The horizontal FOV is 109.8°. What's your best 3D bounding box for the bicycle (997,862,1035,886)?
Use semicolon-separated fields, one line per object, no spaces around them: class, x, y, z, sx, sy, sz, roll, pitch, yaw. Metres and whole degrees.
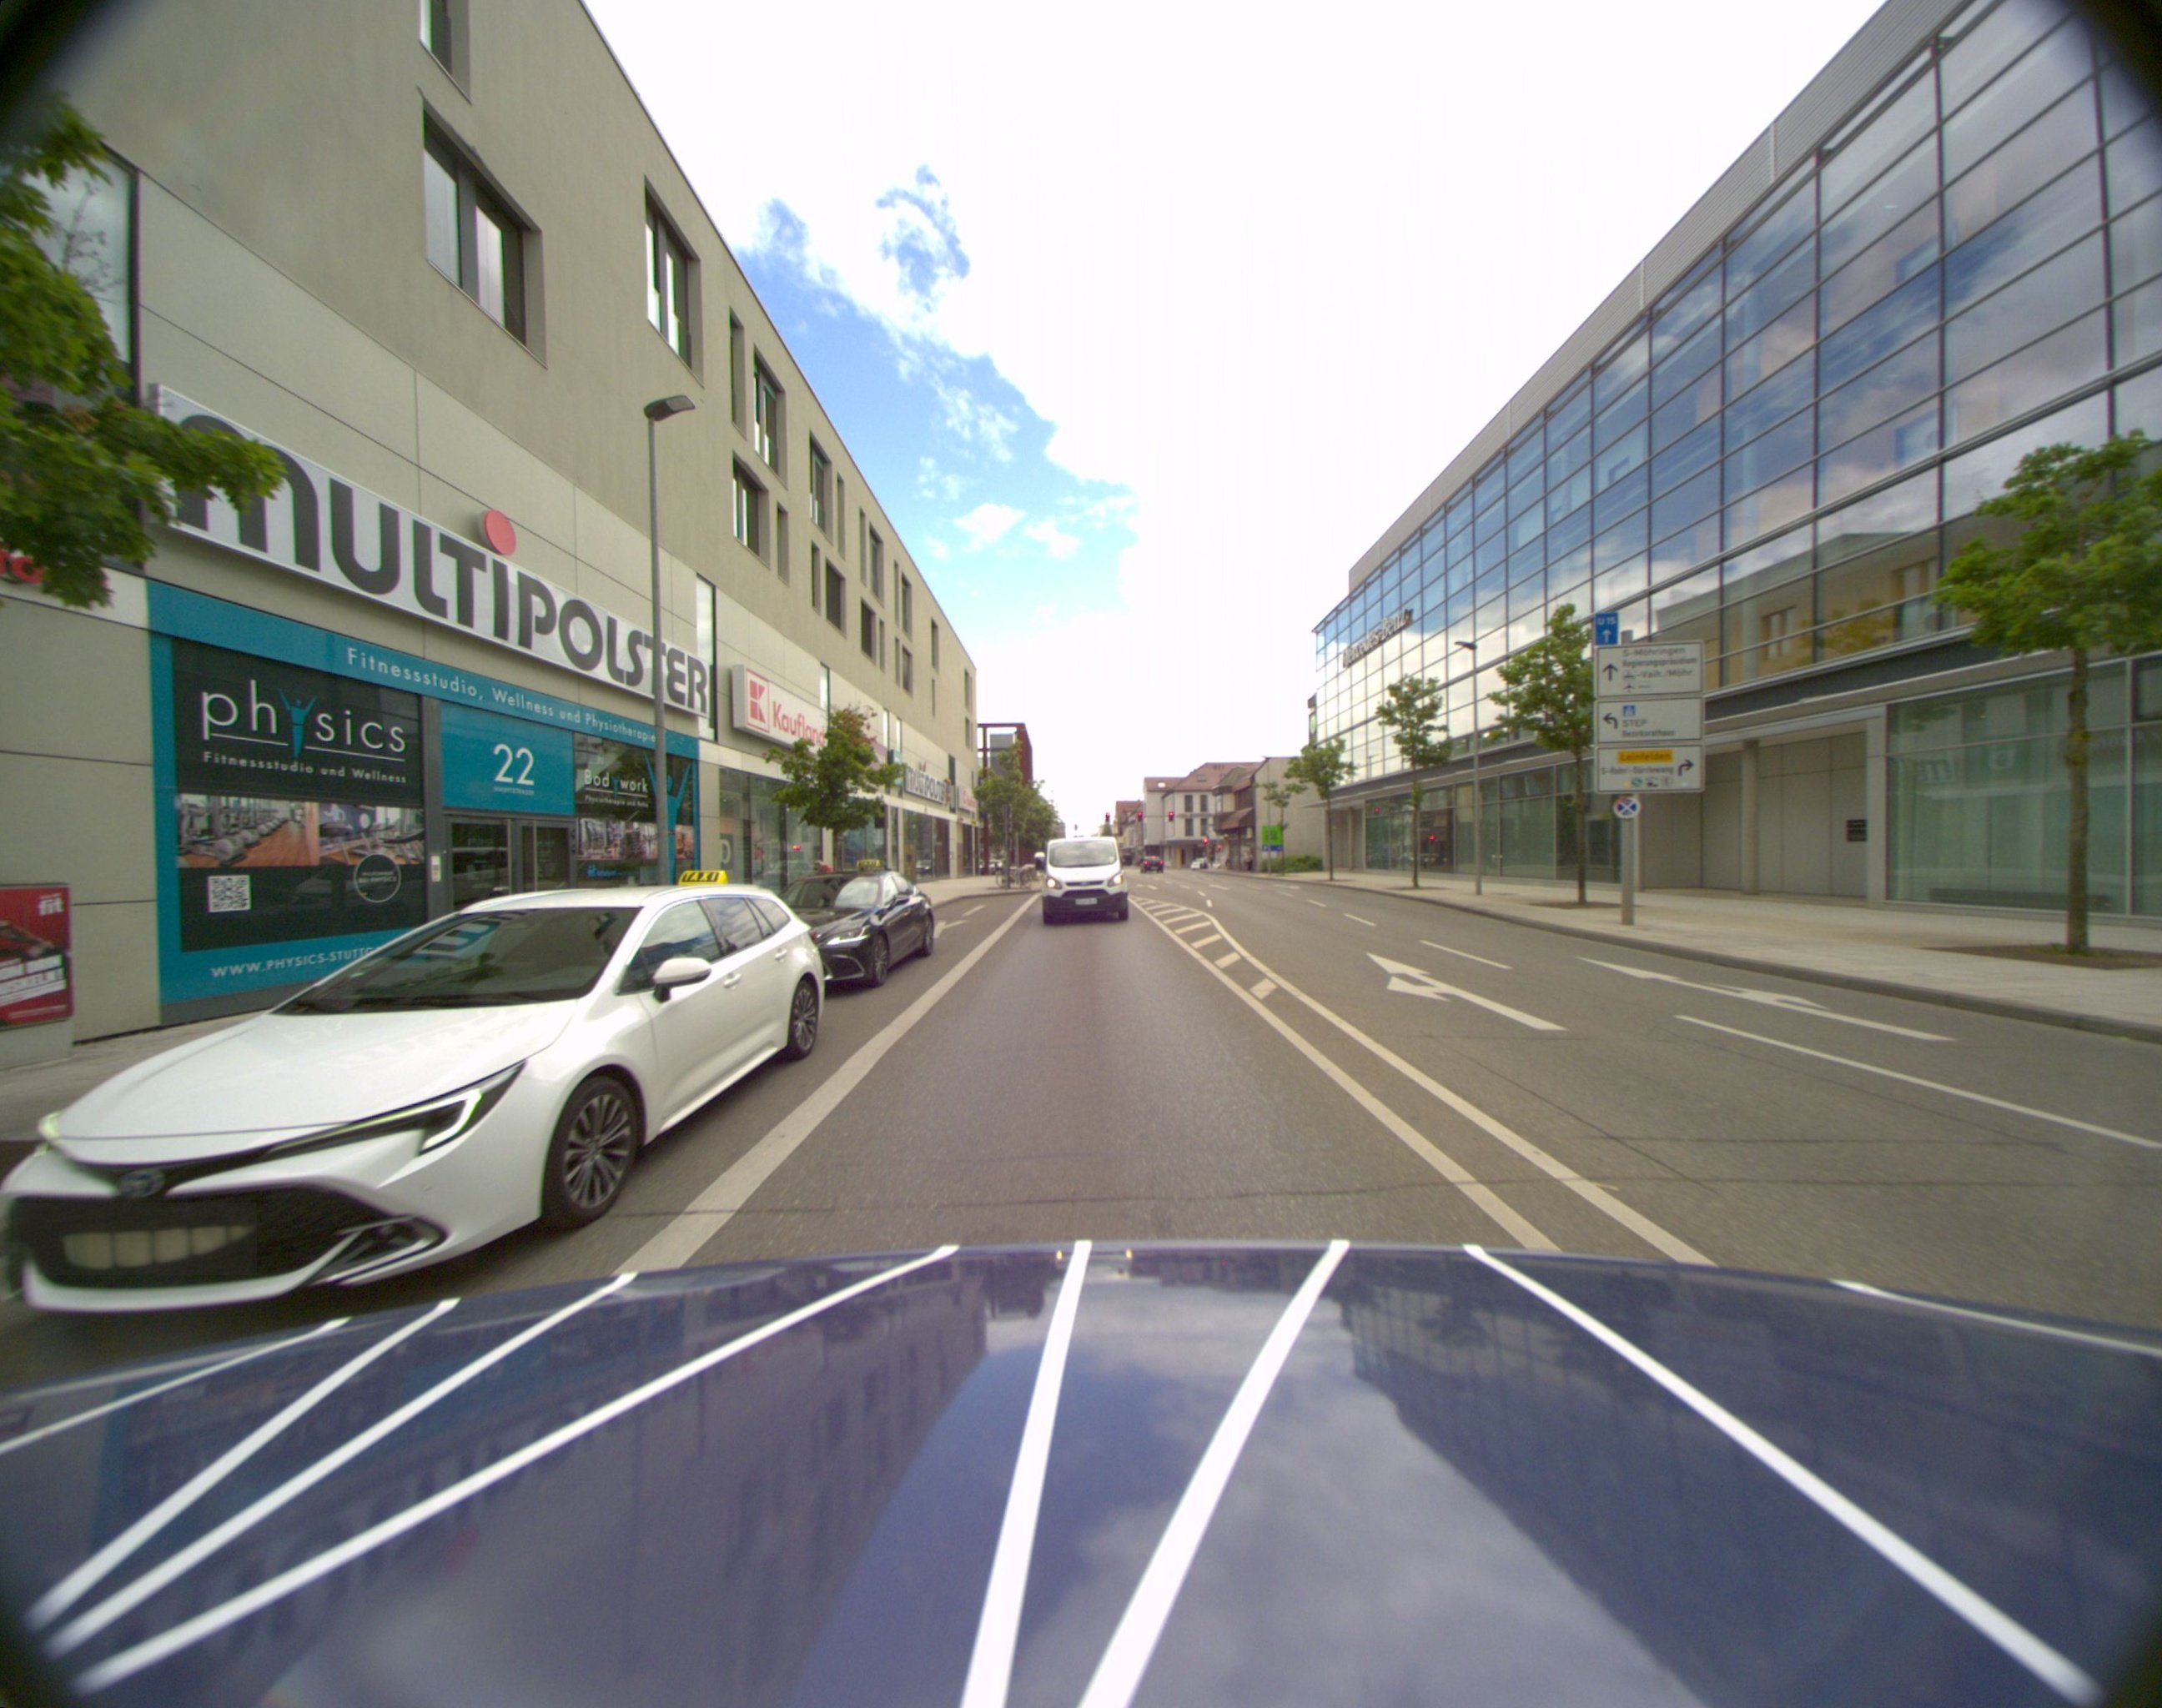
bicycle;-3.061;0.942;35.781;1.745;1.093;0.561;1;0;-7

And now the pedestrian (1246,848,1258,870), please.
pedestrian;12.875;0.387;57.204;0.702;1.614;0.693;-1;1;0

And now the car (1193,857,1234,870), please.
car;14.891;1.040;85.472;4.001;1.458;1.936;-1;0;-13

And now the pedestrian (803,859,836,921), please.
pedestrian;-6.742;0.919;19.641;0.590;1.558;0.732;0;1;0

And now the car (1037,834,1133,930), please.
car;0.090;0.590;18.908;2.000;1.976;5.000;-3;1;0

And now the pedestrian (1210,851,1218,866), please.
pedestrian;14.062;0.460;80.113;0.555;1.507;0.582;-1;1;-32

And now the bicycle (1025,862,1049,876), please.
bicycle;-3.231;1.071;55.884;1.745;1.015;0.451;0;0;-6

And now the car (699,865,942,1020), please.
car;-3.329;1.016;10.834;1.741;1.533;4.789;-3;1;0

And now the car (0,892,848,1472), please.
car;-2.963;1.092;4.492;1.787;1.417;4.513;-2;1;-1

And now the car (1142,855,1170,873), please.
car;6.666;0.874;67.916;1.803;1.458;3.998;-1;0;-4
